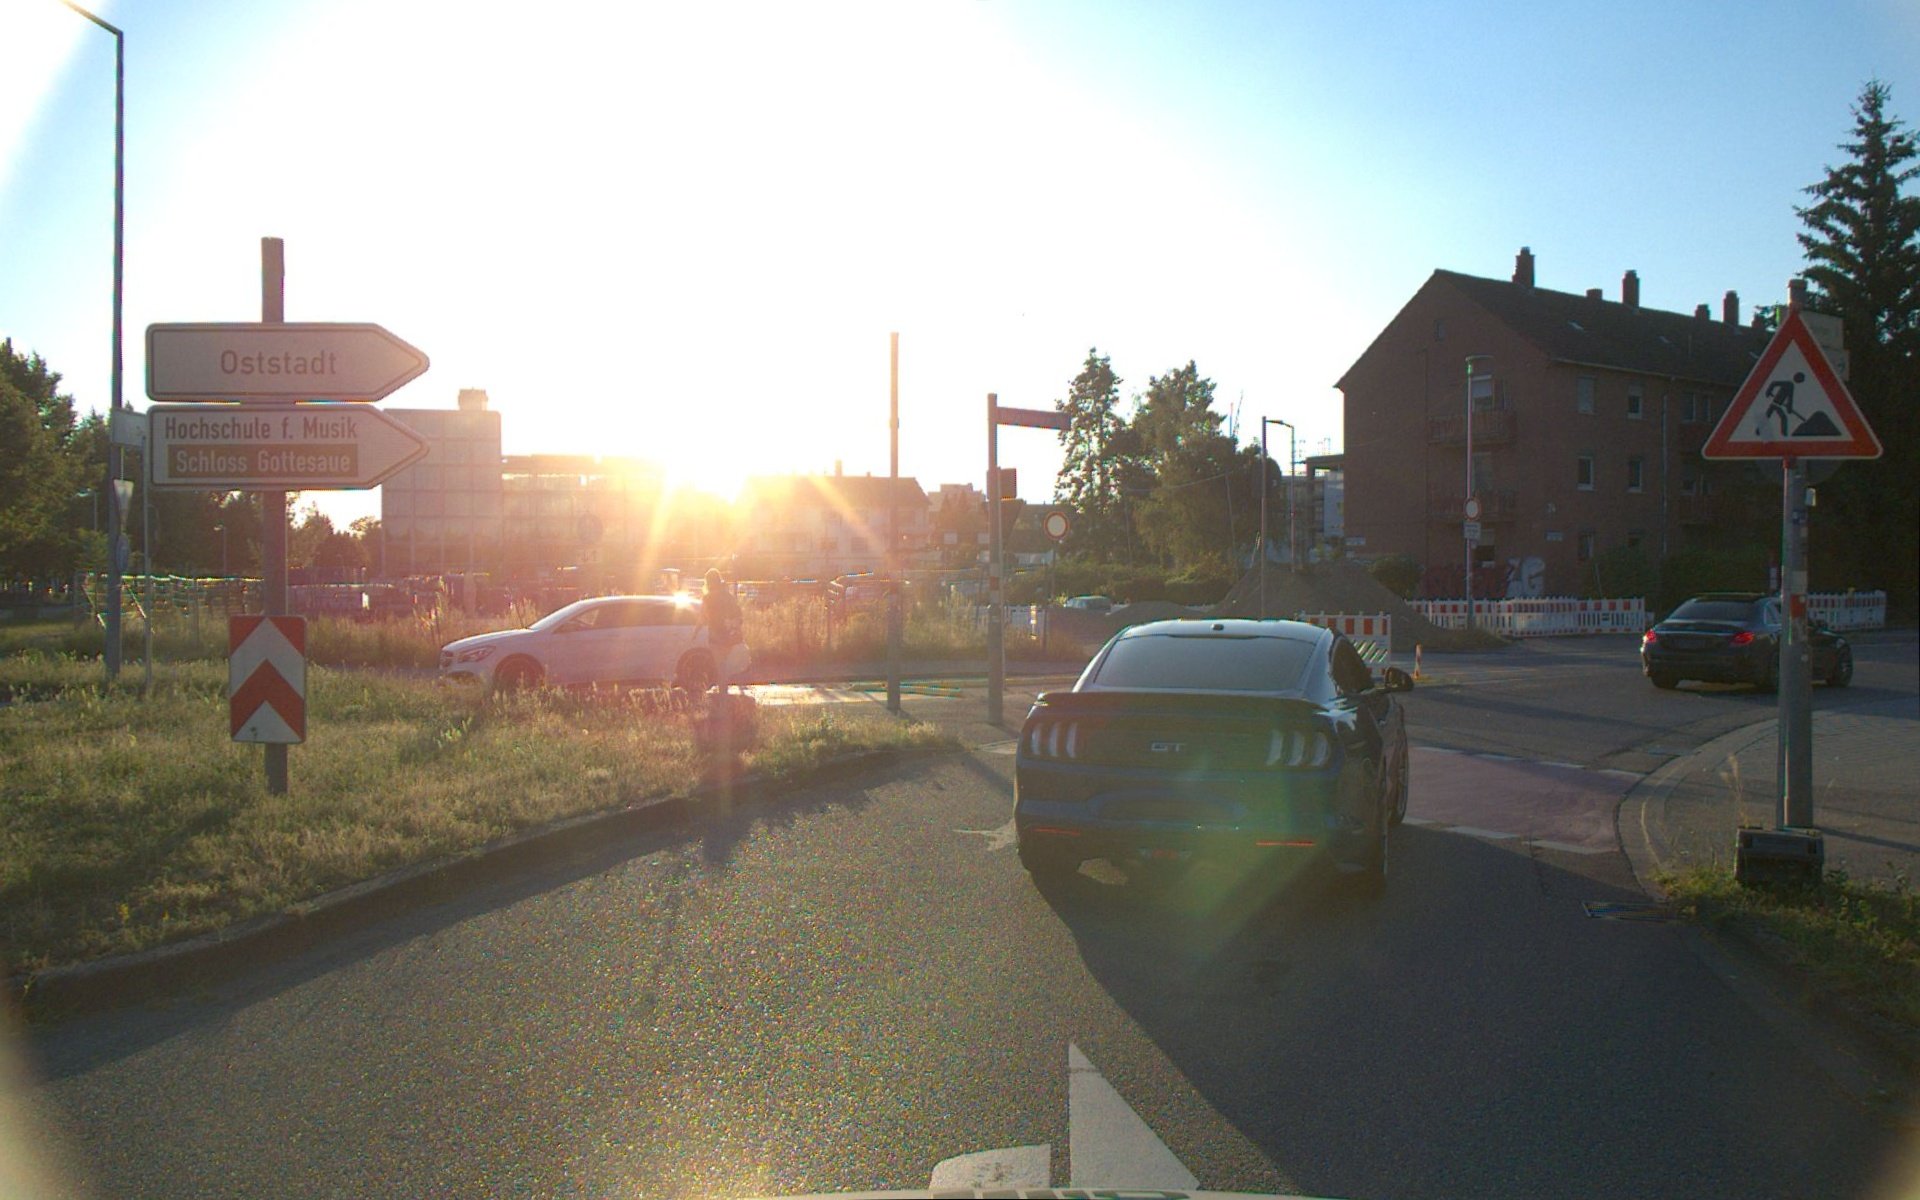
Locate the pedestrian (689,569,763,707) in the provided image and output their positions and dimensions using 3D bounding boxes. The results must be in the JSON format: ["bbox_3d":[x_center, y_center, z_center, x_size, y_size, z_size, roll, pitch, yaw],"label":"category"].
[{"bbox_3d":[-2.972,0.465,21.081,0.826,1.716,0.887,0,0,-1],"label":"pedestrian"}]

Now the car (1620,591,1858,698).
[{"bbox_3d":[12.095,0.617,25.545,4.396,1.452,1.926,-1,1,-44],"label":"car"}]

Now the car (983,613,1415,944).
[{"bbox_3d":[1.675,0.808,9.811,1.910,1.365,4.674,1,1,16],"label":"car"}]

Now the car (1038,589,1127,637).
[{"bbox_3d":[4.632,0.465,63.132,1.964,1.735,3.978,0,0,-19],"label":"car"}]

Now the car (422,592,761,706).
[{"bbox_3d":[-5.488,0.665,24.735,4.590,1.478,2.056,-1,1,-29],"label":"car"}]
